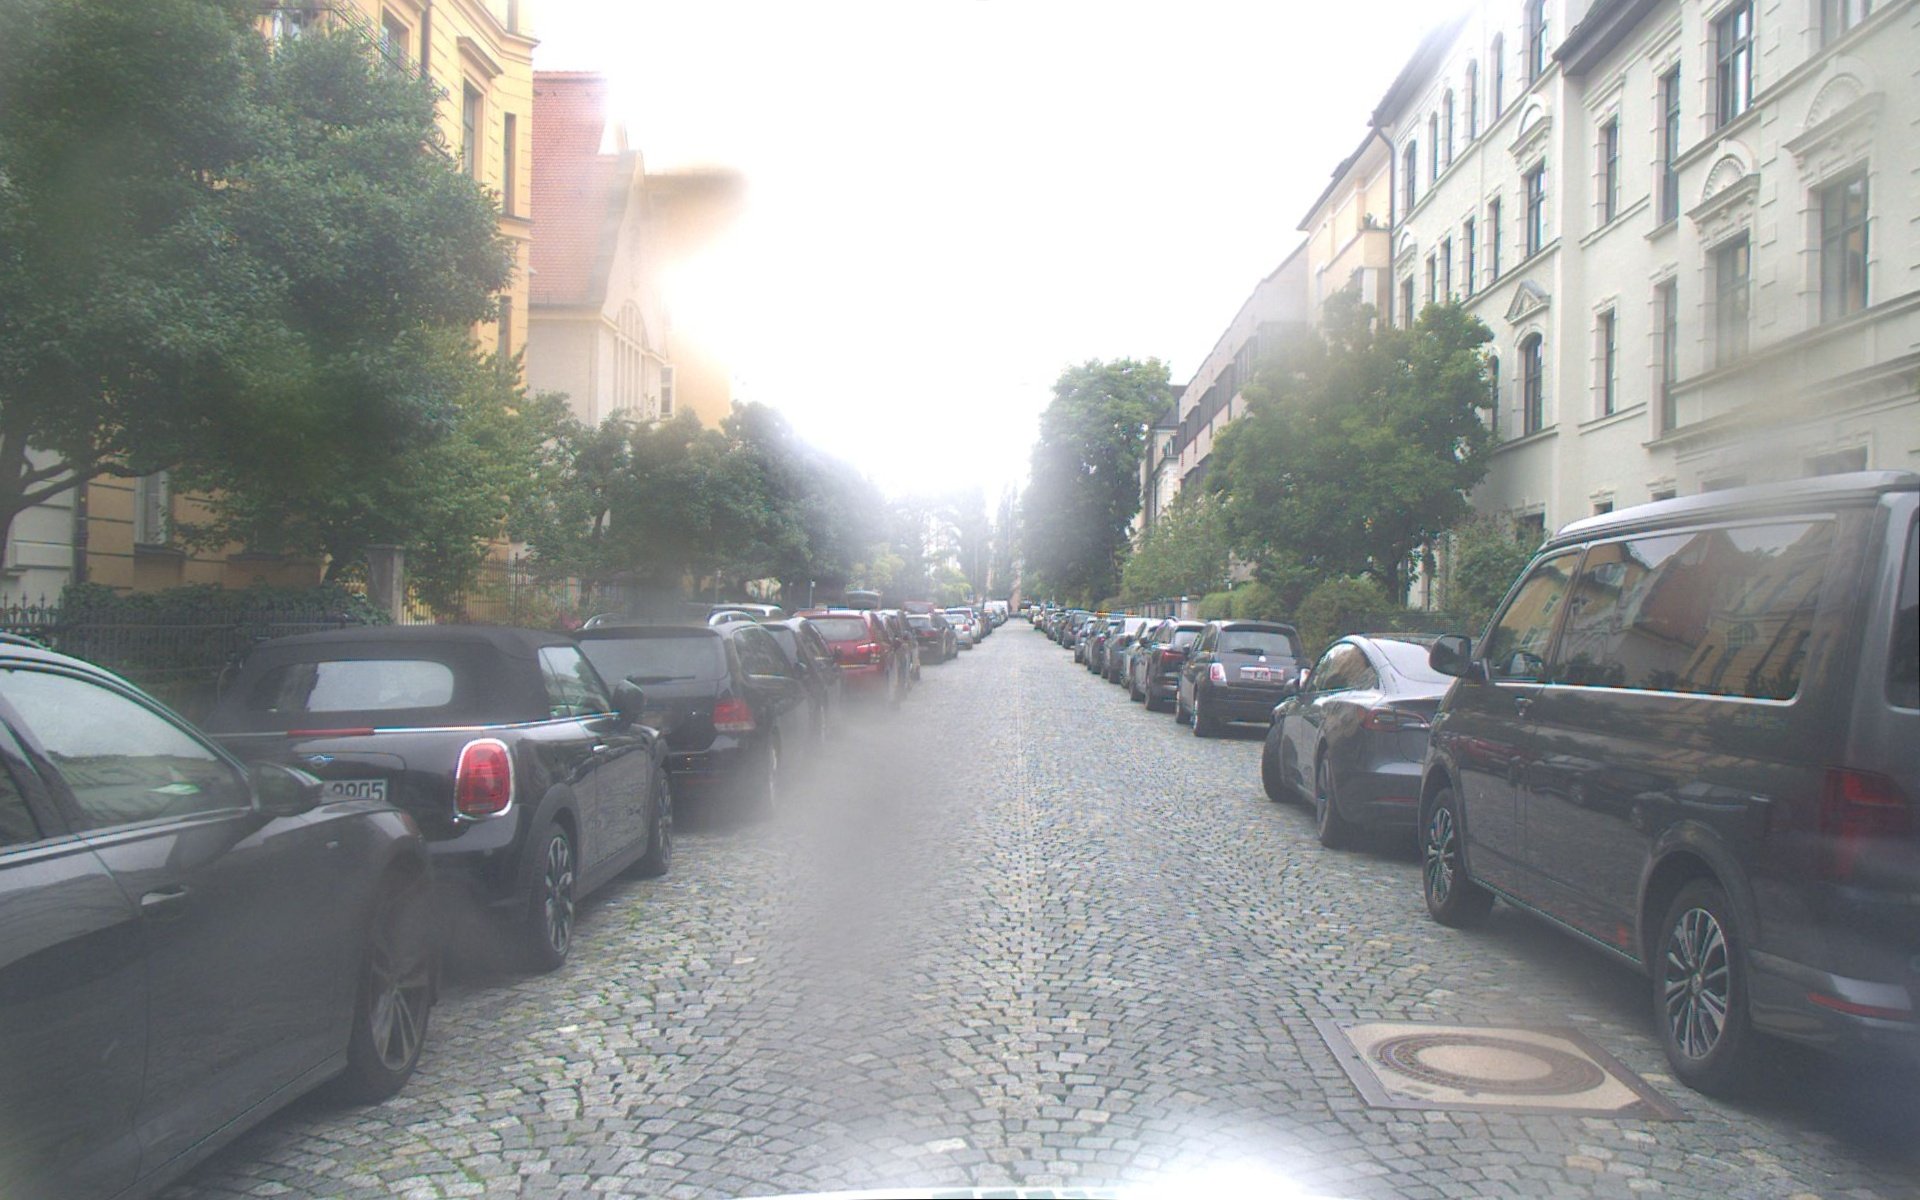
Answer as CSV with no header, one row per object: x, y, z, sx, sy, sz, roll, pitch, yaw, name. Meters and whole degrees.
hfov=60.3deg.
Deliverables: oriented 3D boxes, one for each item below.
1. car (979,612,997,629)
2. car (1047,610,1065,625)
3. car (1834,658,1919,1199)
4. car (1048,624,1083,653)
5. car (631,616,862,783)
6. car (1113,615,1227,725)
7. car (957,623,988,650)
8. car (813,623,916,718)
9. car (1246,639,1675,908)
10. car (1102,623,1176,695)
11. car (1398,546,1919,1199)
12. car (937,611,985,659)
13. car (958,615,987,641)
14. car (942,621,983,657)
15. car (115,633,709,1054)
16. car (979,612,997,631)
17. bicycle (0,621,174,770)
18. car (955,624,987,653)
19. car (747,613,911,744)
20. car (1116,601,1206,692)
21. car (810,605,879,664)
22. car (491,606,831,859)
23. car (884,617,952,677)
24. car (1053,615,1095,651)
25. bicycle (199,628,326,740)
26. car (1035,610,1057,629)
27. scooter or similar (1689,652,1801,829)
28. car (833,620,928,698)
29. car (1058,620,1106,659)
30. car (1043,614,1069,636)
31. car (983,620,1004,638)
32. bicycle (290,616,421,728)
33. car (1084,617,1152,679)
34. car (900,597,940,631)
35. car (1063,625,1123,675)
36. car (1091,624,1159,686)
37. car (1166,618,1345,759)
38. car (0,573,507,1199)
2.987,2.192,176.761,1.882,1.664,3.739,-3,-1,1,car
11.081,2.058,191.641,1.882,1.664,3.739,-3,-1,1,car
3.012,0.898,1.526,1.889,1.533,4.875,3,-1,1,car
6.374,2.318,100.056,1.882,1.664,3.739,-3,-1,1,car
-2.238,1.033,18.381,1.882,1.573,4.000,-3,-1,1,car
3.351,1.097,26.891,1.625,1.664,3.540,0,-1,4,car
0.847,2.373,107.384,1.882,1.664,3.739,-3,-1,1,car
-1.605,1.178,28.359,1.402,1.485,2.651,-3,-1,3,car
3.409,1.088,12.303,1.882,1.459,4.802,3,-1,3,car
4.101,1.328,38.021,1.563,1.529,3.264,-3,-1,6,car
3.351,0.761,6.701,1.979,1.720,4.851,1,0,2,car
0.074,1.489,69.426,1.882,1.871,3.739,-2,-1,1,car
0.855,1.932,113.564,1.882,1.664,3.739,-3,-1,1,car
0.136,1.962,82.398,1.882,1.664,3.739,-3,-1,1,car
-2.391,0.972,8.216,1.668,1.543,3.727,-1,-1,0,car
3.273,2.459,191.876,1.953,2.049,3.998,1,-2,-1,car
-7.126,0.735,13.493,0.363,1.121,1.835,1,-1,6,bicycle
0.708,2.367,102.226,1.882,1.664,3.739,-3,-1,1,car
-1.797,1.085,23.864,1.882,1.664,3.806,-3,-1,2,car
4.057,0.923,33.192,1.625,1.664,3.450,-3,-1,8,car
-3.391,1.027,49.234,1.742,1.664,3.739,1,-1,0,car
-2.116,0.907,12.904,1.691,1.567,4.337,-3,-1,2,car
-1.207,1.374,48.659,1.883,1.664,3.738,1,-1,-1,car
5.726,1.663,83.292,1.882,1.664,3.739,-3,-1,1,car
-6.955,0.818,16.572,0.409,1.045,1.765,2,-1,2,bicycle
7.821,1.784,150.655,1.882,1.664,3.739,-3,-1,1,car
6.464,1.111,13.586,0.616,1.356,1.599,-2,-3,31,scooter or similar
-1.629,1.215,34.860,1.625,1.561,3.486,0,-1,4,car
5.532,1.809,75.342,1.882,1.664,3.739,-3,-1,1,car
7.680,2.005,133.198,1.882,1.664,3.739,-3,-1,1,car
3.197,2.780,158.698,1.882,1.664,3.739,-3,-1,1,car
-6.693,0.785,18.404,0.409,1.163,1.766,2,-1,14,bicycle
4.557,1.398,48.092,1.626,1.664,3.448,-2,-1,0,car
-2.125,0.751,88.199,1.882,1.664,3.739,-3,-1,1,car
4.237,1.603,53.141,1.626,1.491,3.448,-2,-1,0,car
4.256,1.408,43.077,1.625,1.481,3.449,-3,-1,4,car
3.954,1.151,22.788,1.882,1.664,4.047,3,-1,3,car
-2.555,0.746,3.559,1.768,1.531,5.176,-1,-1,-1,car
